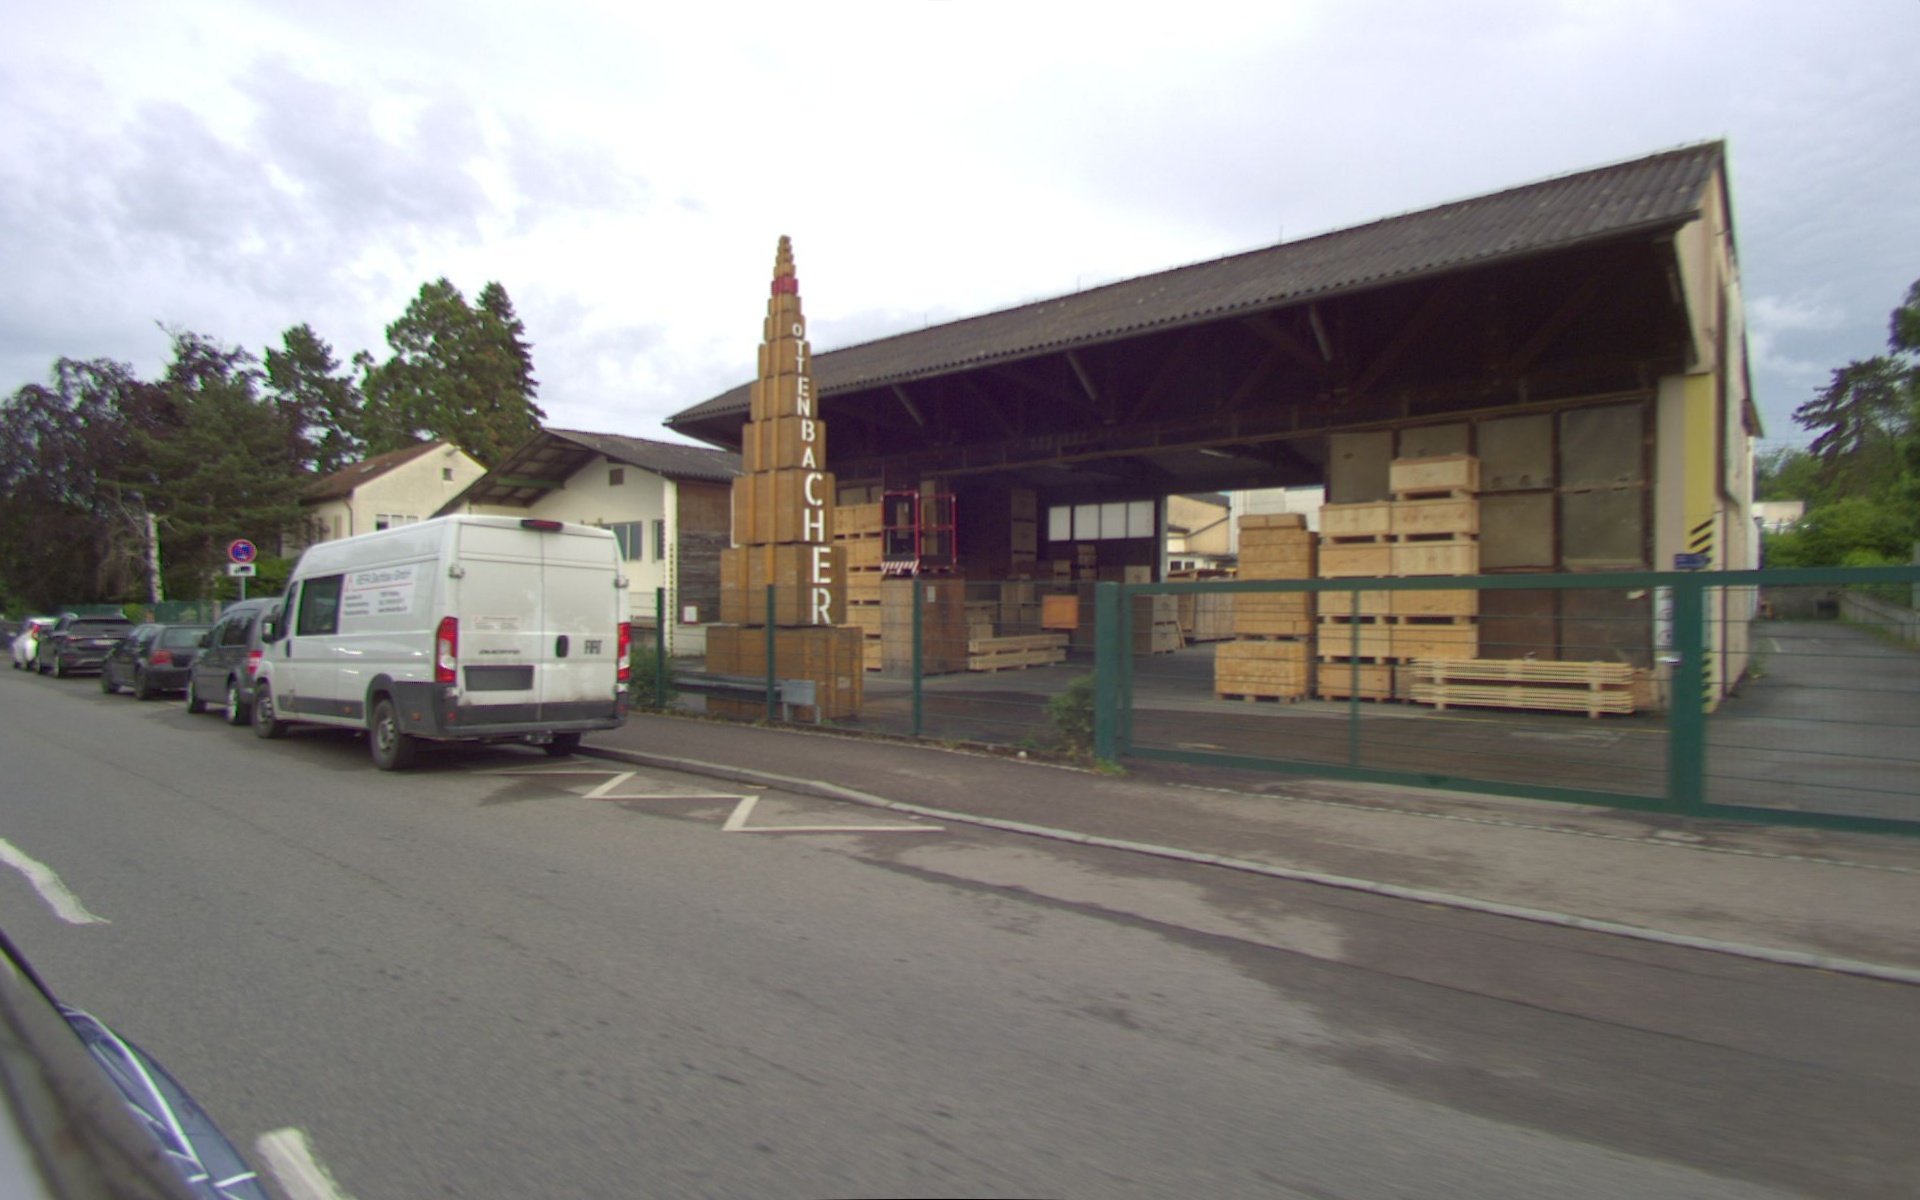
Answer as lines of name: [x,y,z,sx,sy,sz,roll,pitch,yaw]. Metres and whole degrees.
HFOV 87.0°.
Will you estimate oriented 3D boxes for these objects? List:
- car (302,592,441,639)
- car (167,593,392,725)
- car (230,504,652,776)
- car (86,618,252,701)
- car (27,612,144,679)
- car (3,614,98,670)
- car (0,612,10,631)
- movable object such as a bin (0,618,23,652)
car: [-26.242,0.640,45.263,2.000,1.871,4.945,0,1,42]
car: [-10.718,0.858,15.811,4.444,1.782,1.751,0,-3,41]
car: [-6.429,0.439,12.043,6.455,2.445,2.136,-1,-3,41]
car: [-15.644,1.094,19.949,4.313,1.459,1.645,0,-1,39]
car: [-22.570,1.111,26.072,3.913,1.596,1.644,0,-2,40]
car: [-26.340,1.171,29.277,3.658,1.520,1.599,-1,-1,41]
car: [-75.308,1.669,78.491,4.784,1.451,1.810,0,1,40]
movable object such as a bin: [-38.491,1.416,40.633,1.424,1.320,1.089,0,1,40]
